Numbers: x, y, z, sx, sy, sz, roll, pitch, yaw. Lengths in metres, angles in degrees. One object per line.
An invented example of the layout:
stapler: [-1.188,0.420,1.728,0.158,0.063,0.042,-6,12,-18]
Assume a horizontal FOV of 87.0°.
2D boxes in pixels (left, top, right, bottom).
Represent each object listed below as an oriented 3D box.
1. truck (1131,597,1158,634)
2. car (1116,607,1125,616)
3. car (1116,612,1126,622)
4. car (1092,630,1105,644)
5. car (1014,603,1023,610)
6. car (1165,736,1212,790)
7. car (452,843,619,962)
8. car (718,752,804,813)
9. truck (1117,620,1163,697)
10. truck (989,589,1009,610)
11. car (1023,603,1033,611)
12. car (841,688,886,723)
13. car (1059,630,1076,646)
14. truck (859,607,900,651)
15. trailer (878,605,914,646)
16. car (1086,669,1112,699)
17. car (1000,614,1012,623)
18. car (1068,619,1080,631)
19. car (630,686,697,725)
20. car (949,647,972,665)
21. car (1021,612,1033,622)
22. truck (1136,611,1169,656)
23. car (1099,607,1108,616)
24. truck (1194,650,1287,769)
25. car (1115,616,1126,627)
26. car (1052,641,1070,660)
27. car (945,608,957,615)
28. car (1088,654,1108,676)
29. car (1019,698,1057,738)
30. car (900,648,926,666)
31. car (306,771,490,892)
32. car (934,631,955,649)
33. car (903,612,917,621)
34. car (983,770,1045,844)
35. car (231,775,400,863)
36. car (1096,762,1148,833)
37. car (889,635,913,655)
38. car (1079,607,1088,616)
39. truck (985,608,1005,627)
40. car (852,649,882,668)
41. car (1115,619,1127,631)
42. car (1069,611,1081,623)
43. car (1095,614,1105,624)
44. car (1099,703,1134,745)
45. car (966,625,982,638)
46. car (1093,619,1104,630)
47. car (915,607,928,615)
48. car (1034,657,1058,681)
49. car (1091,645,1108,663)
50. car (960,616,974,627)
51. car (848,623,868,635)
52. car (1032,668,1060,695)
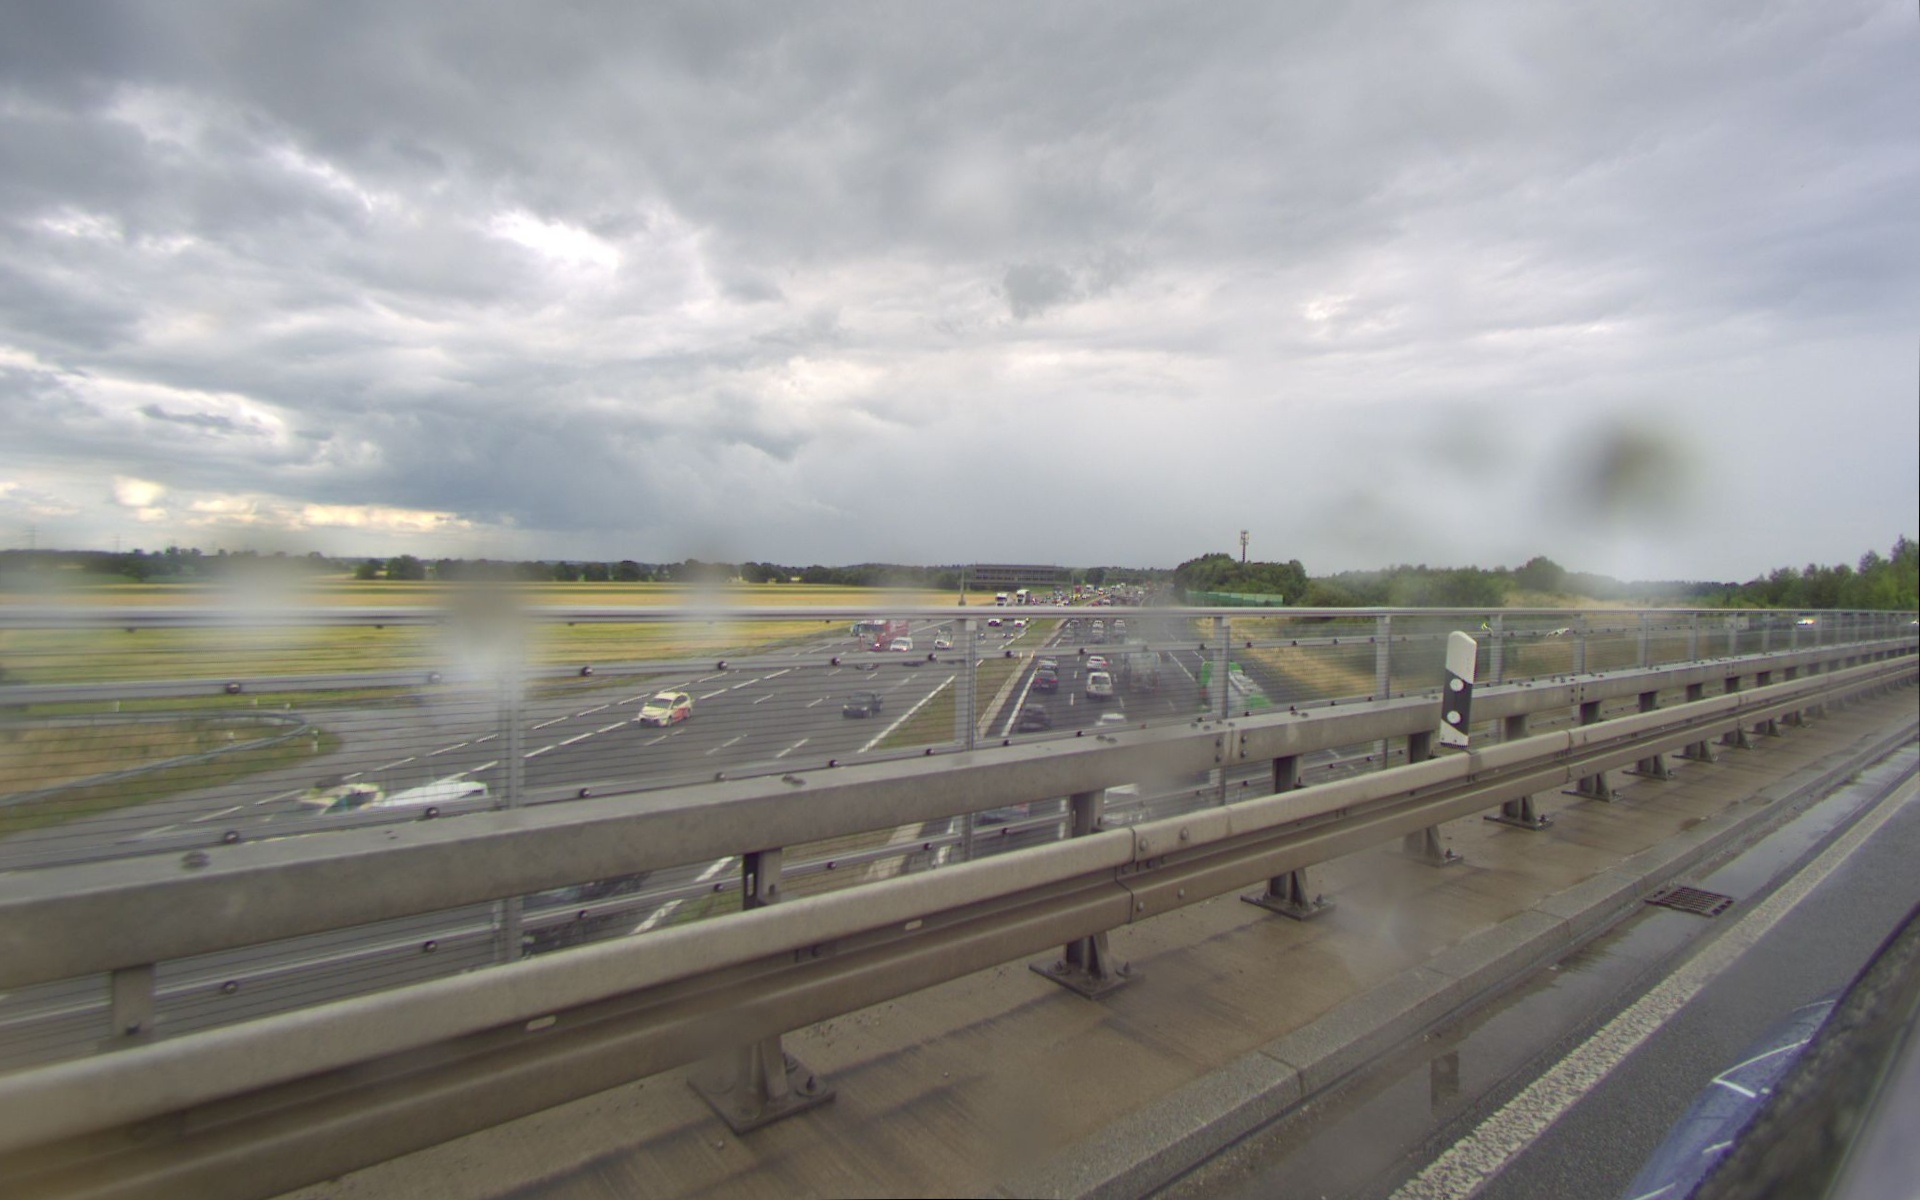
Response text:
truck: [29.029,2.279,159.524,3.434,5.420,15.595,0,0,8]
car: [33.842,2.359,214.059,1.826,1.797,4.713,0,0,9]
car: [31.359,3.310,196.700,1.826,1.797,4.713,0,0,9]
car: [19.391,5.180,141.521,1.826,1.797,4.713,0,0,9]
car: [14.476,1.515,251.909,1.826,1.690,4.713,0,0,9]
car: [10.665,7.580,47.501,1.826,1.690,4.713,0,0,9]
car: [-10.550,7.496,25.588,1.784,1.504,4.714,0,0,7]
car: [-7.827,7.186,40.296,1.785,1.504,4.710,0,0,11]
truck: [15.198,4.690,86.550,3.241,5.511,15.595,0,0,8]
truck: [9.663,-0.186,250.283,2.751,4.961,12.711,0,0,12]
car: [16.281,1.628,241.864,1.826,1.690,4.713,0,0,9]
car: [-6.214,6.801,65.594,1.785,1.690,4.712,0,0,9]
car: [13.487,4.764,126.901,1.826,1.797,4.713,0,0,9]
truck: [-9.192,3.271,116.191,2.641,4.684,9.732,0,0,8]
trailer: [-7.884,3.075,125.927,2.641,4.687,9.887,0,0,8]
car: [10.387,6.246,75.447,1.826,1.797,4.713,0,0,9]
car: [8.938,3.592,196.975,1.784,1.690,4.714,0,0,8]
car: [18.807,4.035,166.374,1.826,1.797,4.713,0,0,9]
car: [-16.968,6.033,58.240,1.785,1.690,4.710,0,0,11]
car: [0.098,5.738,104.061,1.784,1.454,4.715,0,0,7]
car: [12.751,3.194,192.366,1.826,1.690,4.713,0,0,9]
truck: [25.661,4.289,135.368,3.434,5.420,15.595,0,0,8]
car: [30.533,2.351,215.582,1.826,1.797,4.713,0,0,9]
truck: [16.317,6.059,60.281,3.241,5.230,15.595,0,0,8]
car: [27.932,3.803,176.643,1.826,1.797,4.713,0,0,9]
car: [11.306,5.654,113.196,1.826,1.797,4.713,0,0,9]
car: [-1.865,2.383,208.848,1.784,1.454,4.715,0,0,7]
car: [13.027,6.114,95.641,1.826,1.797,4.713,0,0,9]
car: [4.510,6.684,57.714,1.826,1.690,4.713,0,0,9]
car: [-4.593,5.625,99.485,1.784,1.454,4.715,0,0,7]
car: [-16.571,6.752,30.290,1.966,2.248,5.545,0,0,7]
car: [-1.834,4.702,120.001,1.784,1.870,4.715,0,0,7]
car: [-8.688,2.914,176.548,1.784,1.454,4.715,0,0,7]
car: [2.032,7.475,36.992,1.826,1.690,4.713,0,0,9]
car: [-20.183,6.805,31.955,1.785,1.690,4.710,0,0,11]
car: [6.080,7.362,38.206,1.826,1.690,4.713,0,0,9]
car: [-6.317,4.779,108.624,1.784,1.908,4.715,0,0,7]
car: [27.284,2.511,223.856,1.826,1.797,4.713,0,0,9]
truck: [6.228,3.033,177.108,2.553,3.219,8.375,0,0,9]
car: [-8.718,5.473,95.259,1.784,1.454,4.715,0,0,7]
car: [25.453,3.942,160.535,1.826,1.797,4.713,0,0,9]
car: [21.096,3.111,186.056,1.965,2.039,3.994,-3,0,6]
car: [26.367,3.634,190.469,1.826,1.797,4.713,0,0,9]
car: [8.690,6.845,56.352,1.826,1.690,4.713,0,0,9]
car: [2.136,4.603,148.452,1.784,1.690,4.714,0,0,8]
car: [23.271,4.104,170.211,1.826,1.797,4.713,0,0,9]
car: [-7.266,2.035,191.220,1.784,1.454,4.715,0,0,7]
car: [7.816,6.260,91.883,1.826,1.797,4.713,0,0,9]
car: [15.636,5.998,112.908,1.826,1.797,4.713,0,0,9]
car: [1.181,3.456,166.299,1.784,1.690,4.714,0,0,8]
car: [-14.037,3.983,139.975,1.784,1.454,4.715,0,0,7]
car: [6.597,6.226,77.615,1.826,1.690,4.713,0,0,9]
